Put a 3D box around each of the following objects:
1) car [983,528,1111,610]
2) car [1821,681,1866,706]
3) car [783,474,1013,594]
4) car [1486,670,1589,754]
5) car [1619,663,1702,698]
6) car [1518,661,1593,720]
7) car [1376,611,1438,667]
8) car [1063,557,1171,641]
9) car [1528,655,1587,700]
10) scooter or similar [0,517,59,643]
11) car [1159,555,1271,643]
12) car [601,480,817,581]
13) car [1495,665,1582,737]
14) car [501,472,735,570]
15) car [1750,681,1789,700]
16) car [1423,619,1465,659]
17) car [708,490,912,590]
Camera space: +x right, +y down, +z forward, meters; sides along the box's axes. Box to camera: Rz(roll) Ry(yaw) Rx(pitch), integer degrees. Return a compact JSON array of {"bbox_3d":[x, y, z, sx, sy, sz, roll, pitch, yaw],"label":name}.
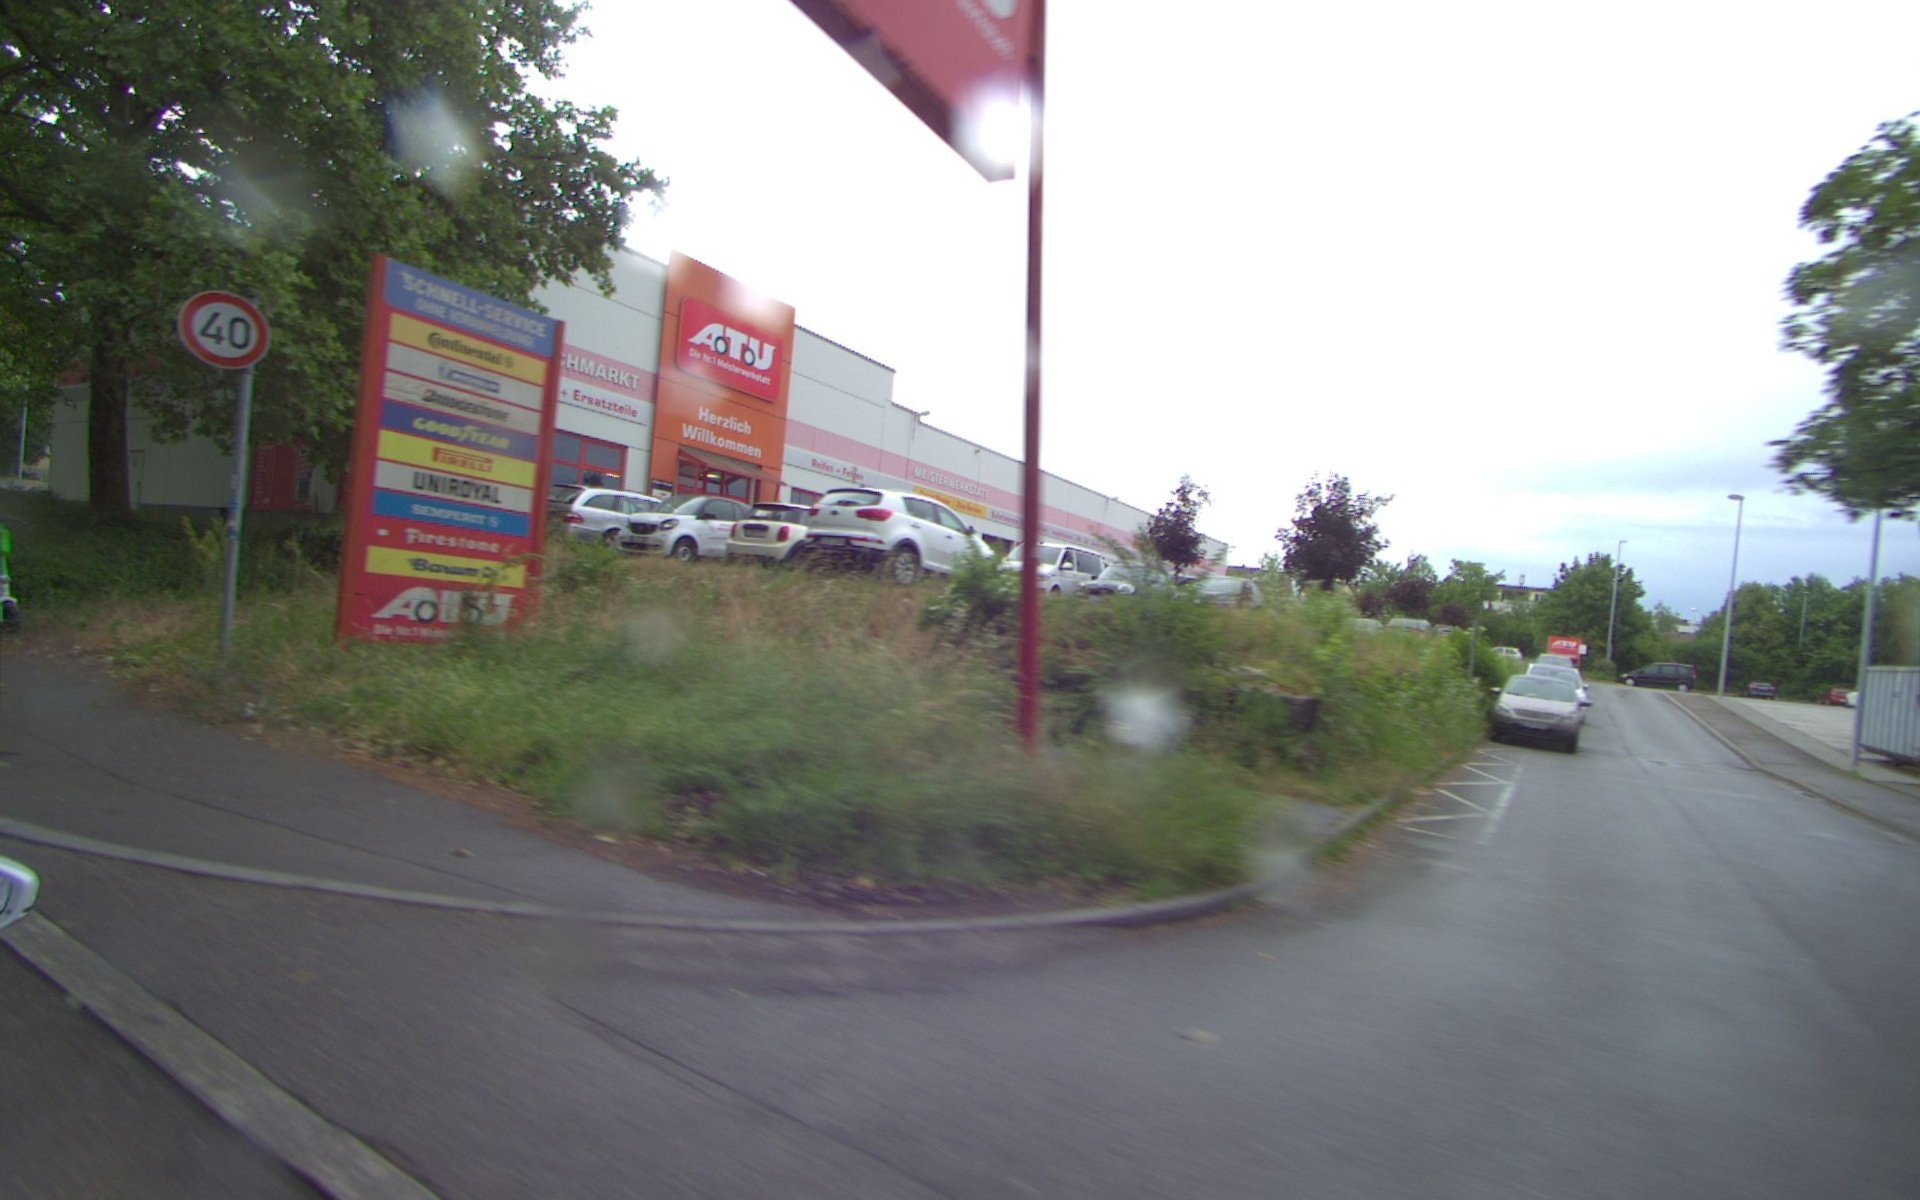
[{"bbox_3d":[2.665,-0.832,29.516,1.882,1.805,4.778,7,0,28],"label":"car"},{"bbox_3d":[65.251,6.877,74.358,1.453,1.528,3.620,7,0,27],"label":"car"},{"bbox_3d":[-0.945,-1.082,17.607,1.872,1.392,4.107,6,-2,32],"label":"car"},{"bbox_3d":[13.763,2.594,23.865,1.801,1.565,4.326,7,0,32],"label":"car"},{"bbox_3d":[46.093,5.292,66.271,4.241,1.682,1.995,7,0,33],"label":"car"},{"bbox_3d":[19.498,2.924,32.890,1.858,1.565,4.326,7,0,32],"label":"car"},{"bbox_3d":[17.908,1.602,40.218,1.882,1.802,3.999,5,-3,28],"label":"car"},{"bbox_3d":[4.415,0.016,27.769,1.632,1.802,3.999,5,-3,28],"label":"car"},{"bbox_3d":[25.082,3.258,42.164,1.858,1.565,4.326,7,0,32],"label":"car"},{"bbox_3d":[-9.567,-0.229,9.949,1.503,1.154,0.426,5,-2,30],"label":"scooter or similar"},{"bbox_3d":[6.817,0.032,26.567,1.882,1.802,3.999,5,-3,28],"label":"car"},{"bbox_3d":[-5.094,-1.382,20.908,1.854,1.485,4.104,7,0,33],"label":"car"},{"bbox_3d":[16.619,2.815,28.809,1.858,1.567,4.322,7,2,32],"label":"car"},{"bbox_3d":[-7.197,-1.625,21.690,1.771,1.350,4.617,7,-1,31],"label":"car"},{"bbox_3d":[61.240,6.811,76.118,1.453,1.135,3.620,7,0,27],"label":"car"},{"bbox_3d":[26.681,2.183,55.377,1.882,1.802,3.999,5,-3,28],"label":"car"},{"bbox_3d":[-2.836,-1.122,19.844,1.802,1.308,3.926,6,-2,31],"label":"car"}]
